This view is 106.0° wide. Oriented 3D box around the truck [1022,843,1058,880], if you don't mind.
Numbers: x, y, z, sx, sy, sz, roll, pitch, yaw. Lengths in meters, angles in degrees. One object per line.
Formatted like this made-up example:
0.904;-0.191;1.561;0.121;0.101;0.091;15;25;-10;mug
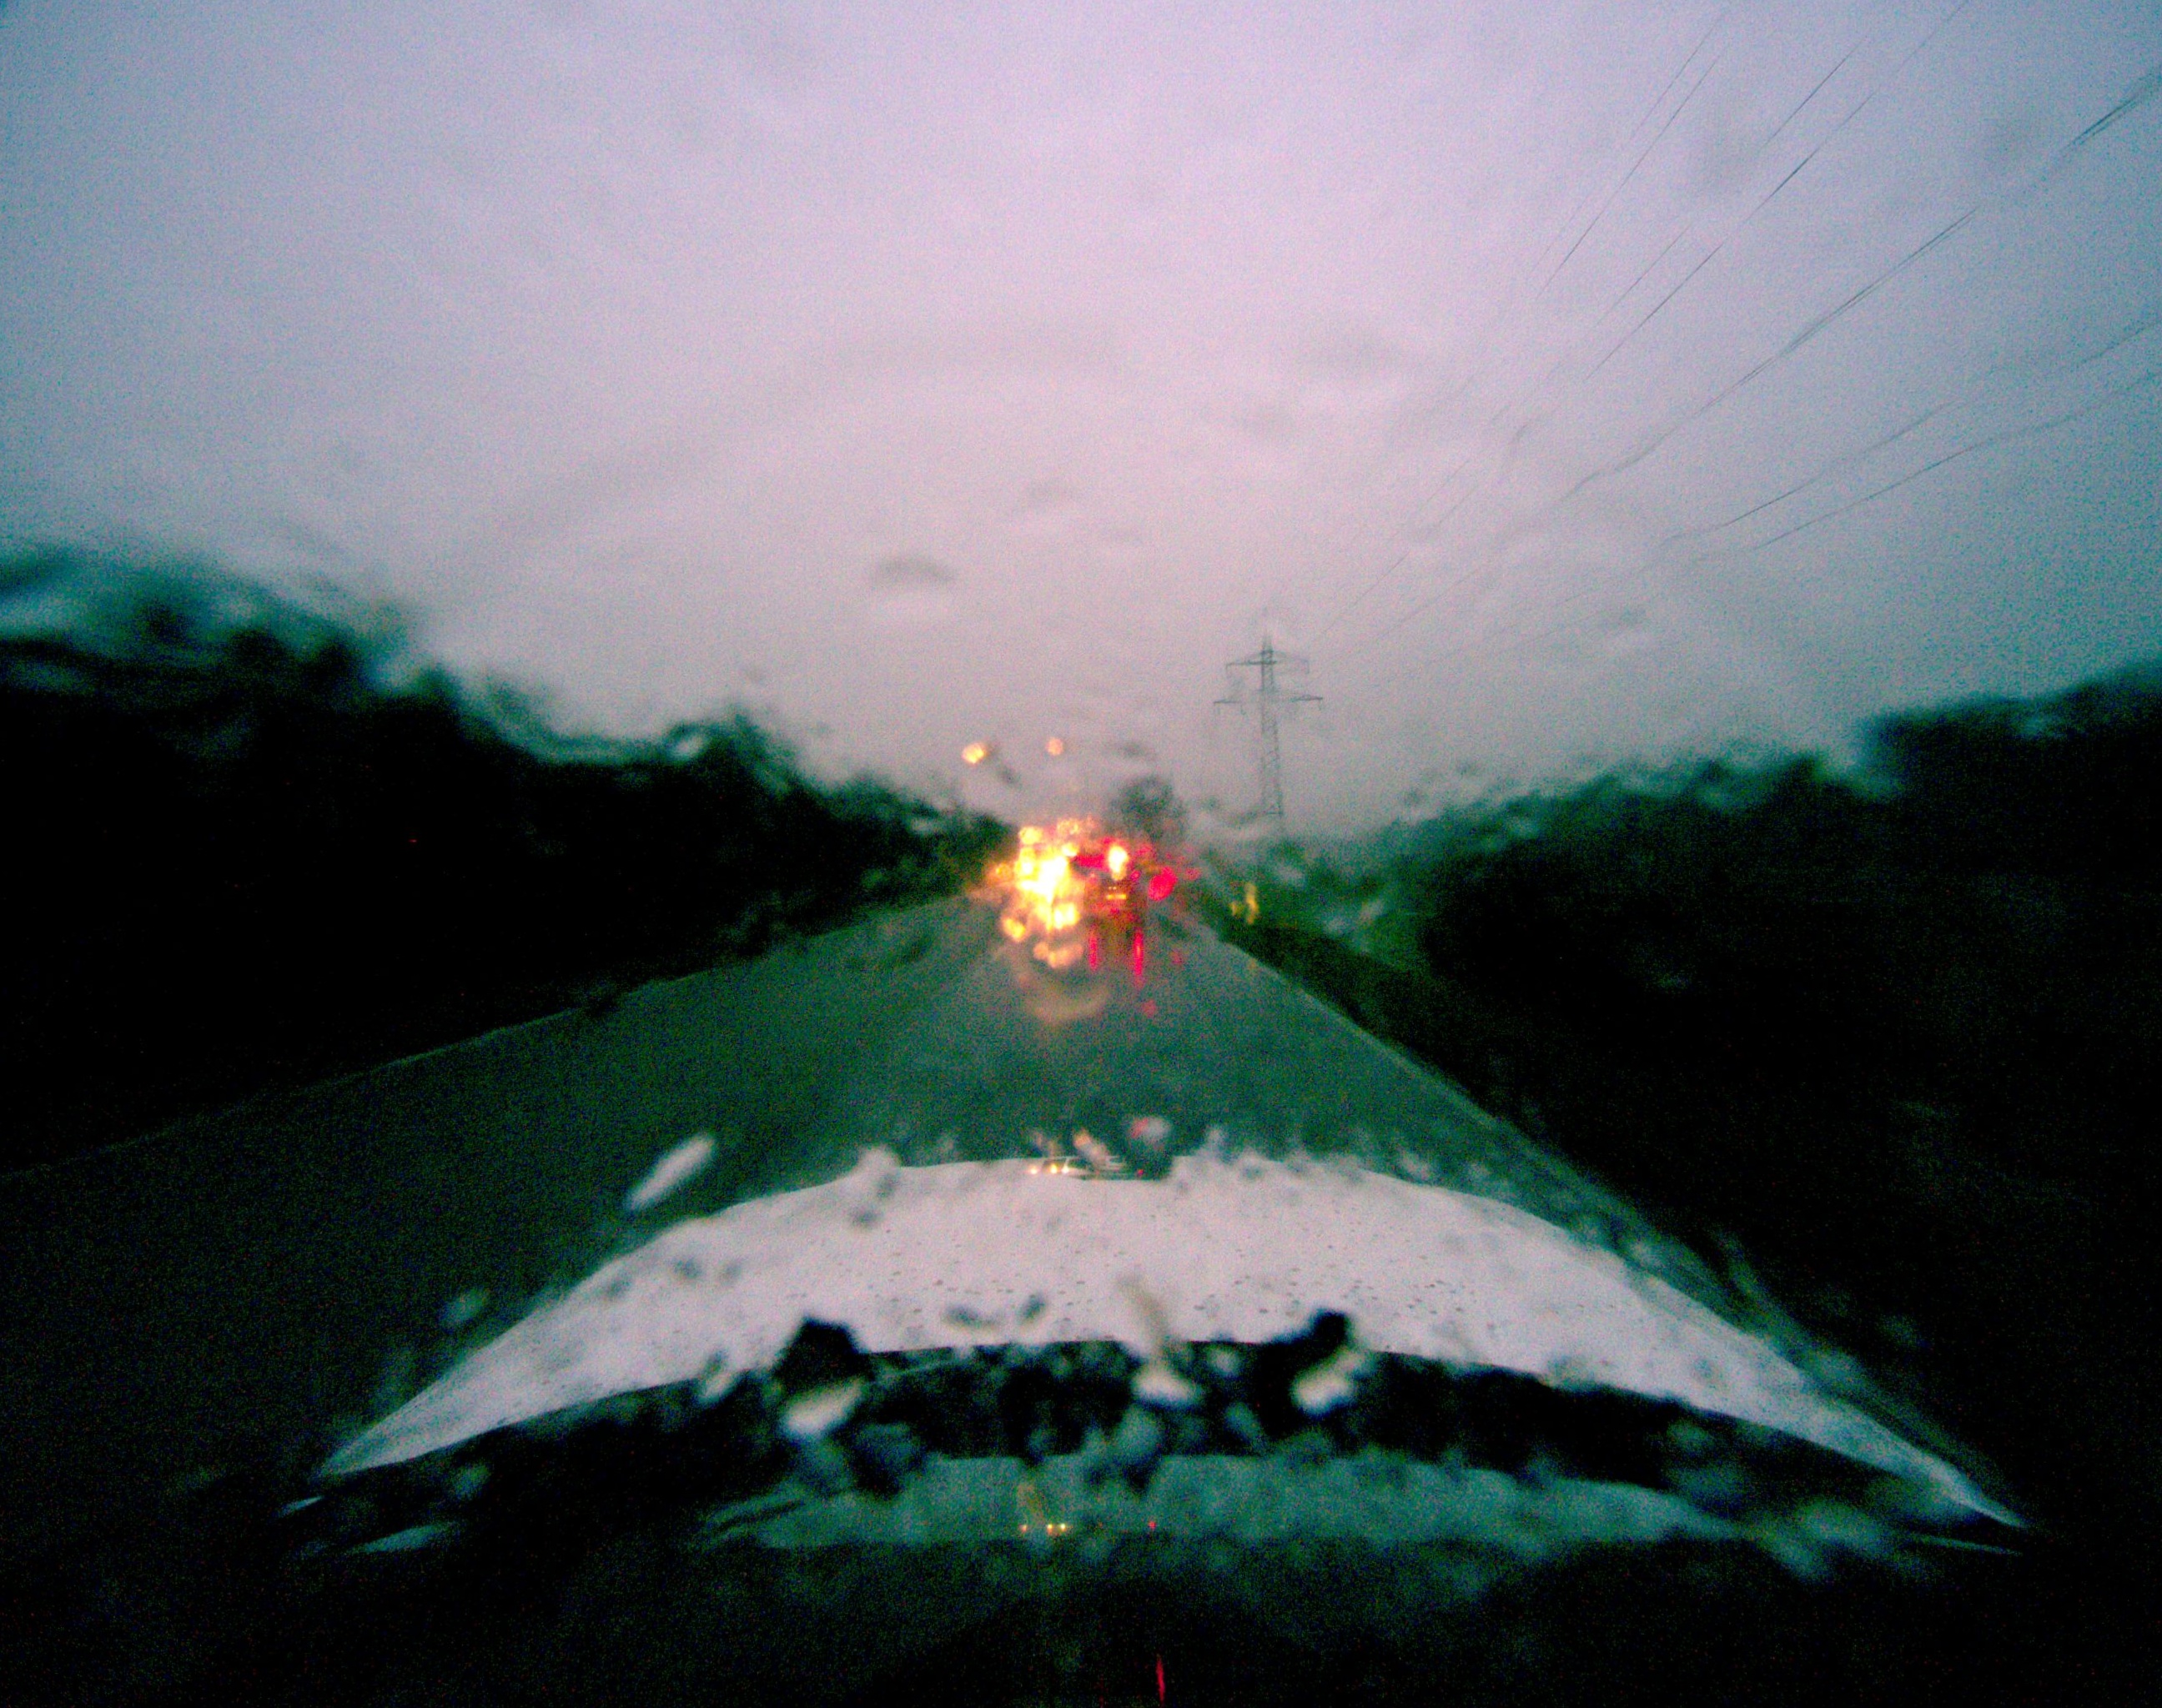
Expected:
-2.854;0.533;57.927;2.231;2.467;5.374;-1;0;0;truck

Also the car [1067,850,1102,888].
0.226;0.825;46.290;1.845;2.014;4.001;-1;0;2;car

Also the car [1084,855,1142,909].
0.887;0.742;22.964;1.494;1.398;3.201;-1;0;2;car

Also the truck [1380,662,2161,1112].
6.963;0.211;10.093;2.496;2.571;10.802;-1;0;0;truck

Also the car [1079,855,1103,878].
0.749;0.981;64.642;1.857;1.700;4.467;-1;0;0;car
